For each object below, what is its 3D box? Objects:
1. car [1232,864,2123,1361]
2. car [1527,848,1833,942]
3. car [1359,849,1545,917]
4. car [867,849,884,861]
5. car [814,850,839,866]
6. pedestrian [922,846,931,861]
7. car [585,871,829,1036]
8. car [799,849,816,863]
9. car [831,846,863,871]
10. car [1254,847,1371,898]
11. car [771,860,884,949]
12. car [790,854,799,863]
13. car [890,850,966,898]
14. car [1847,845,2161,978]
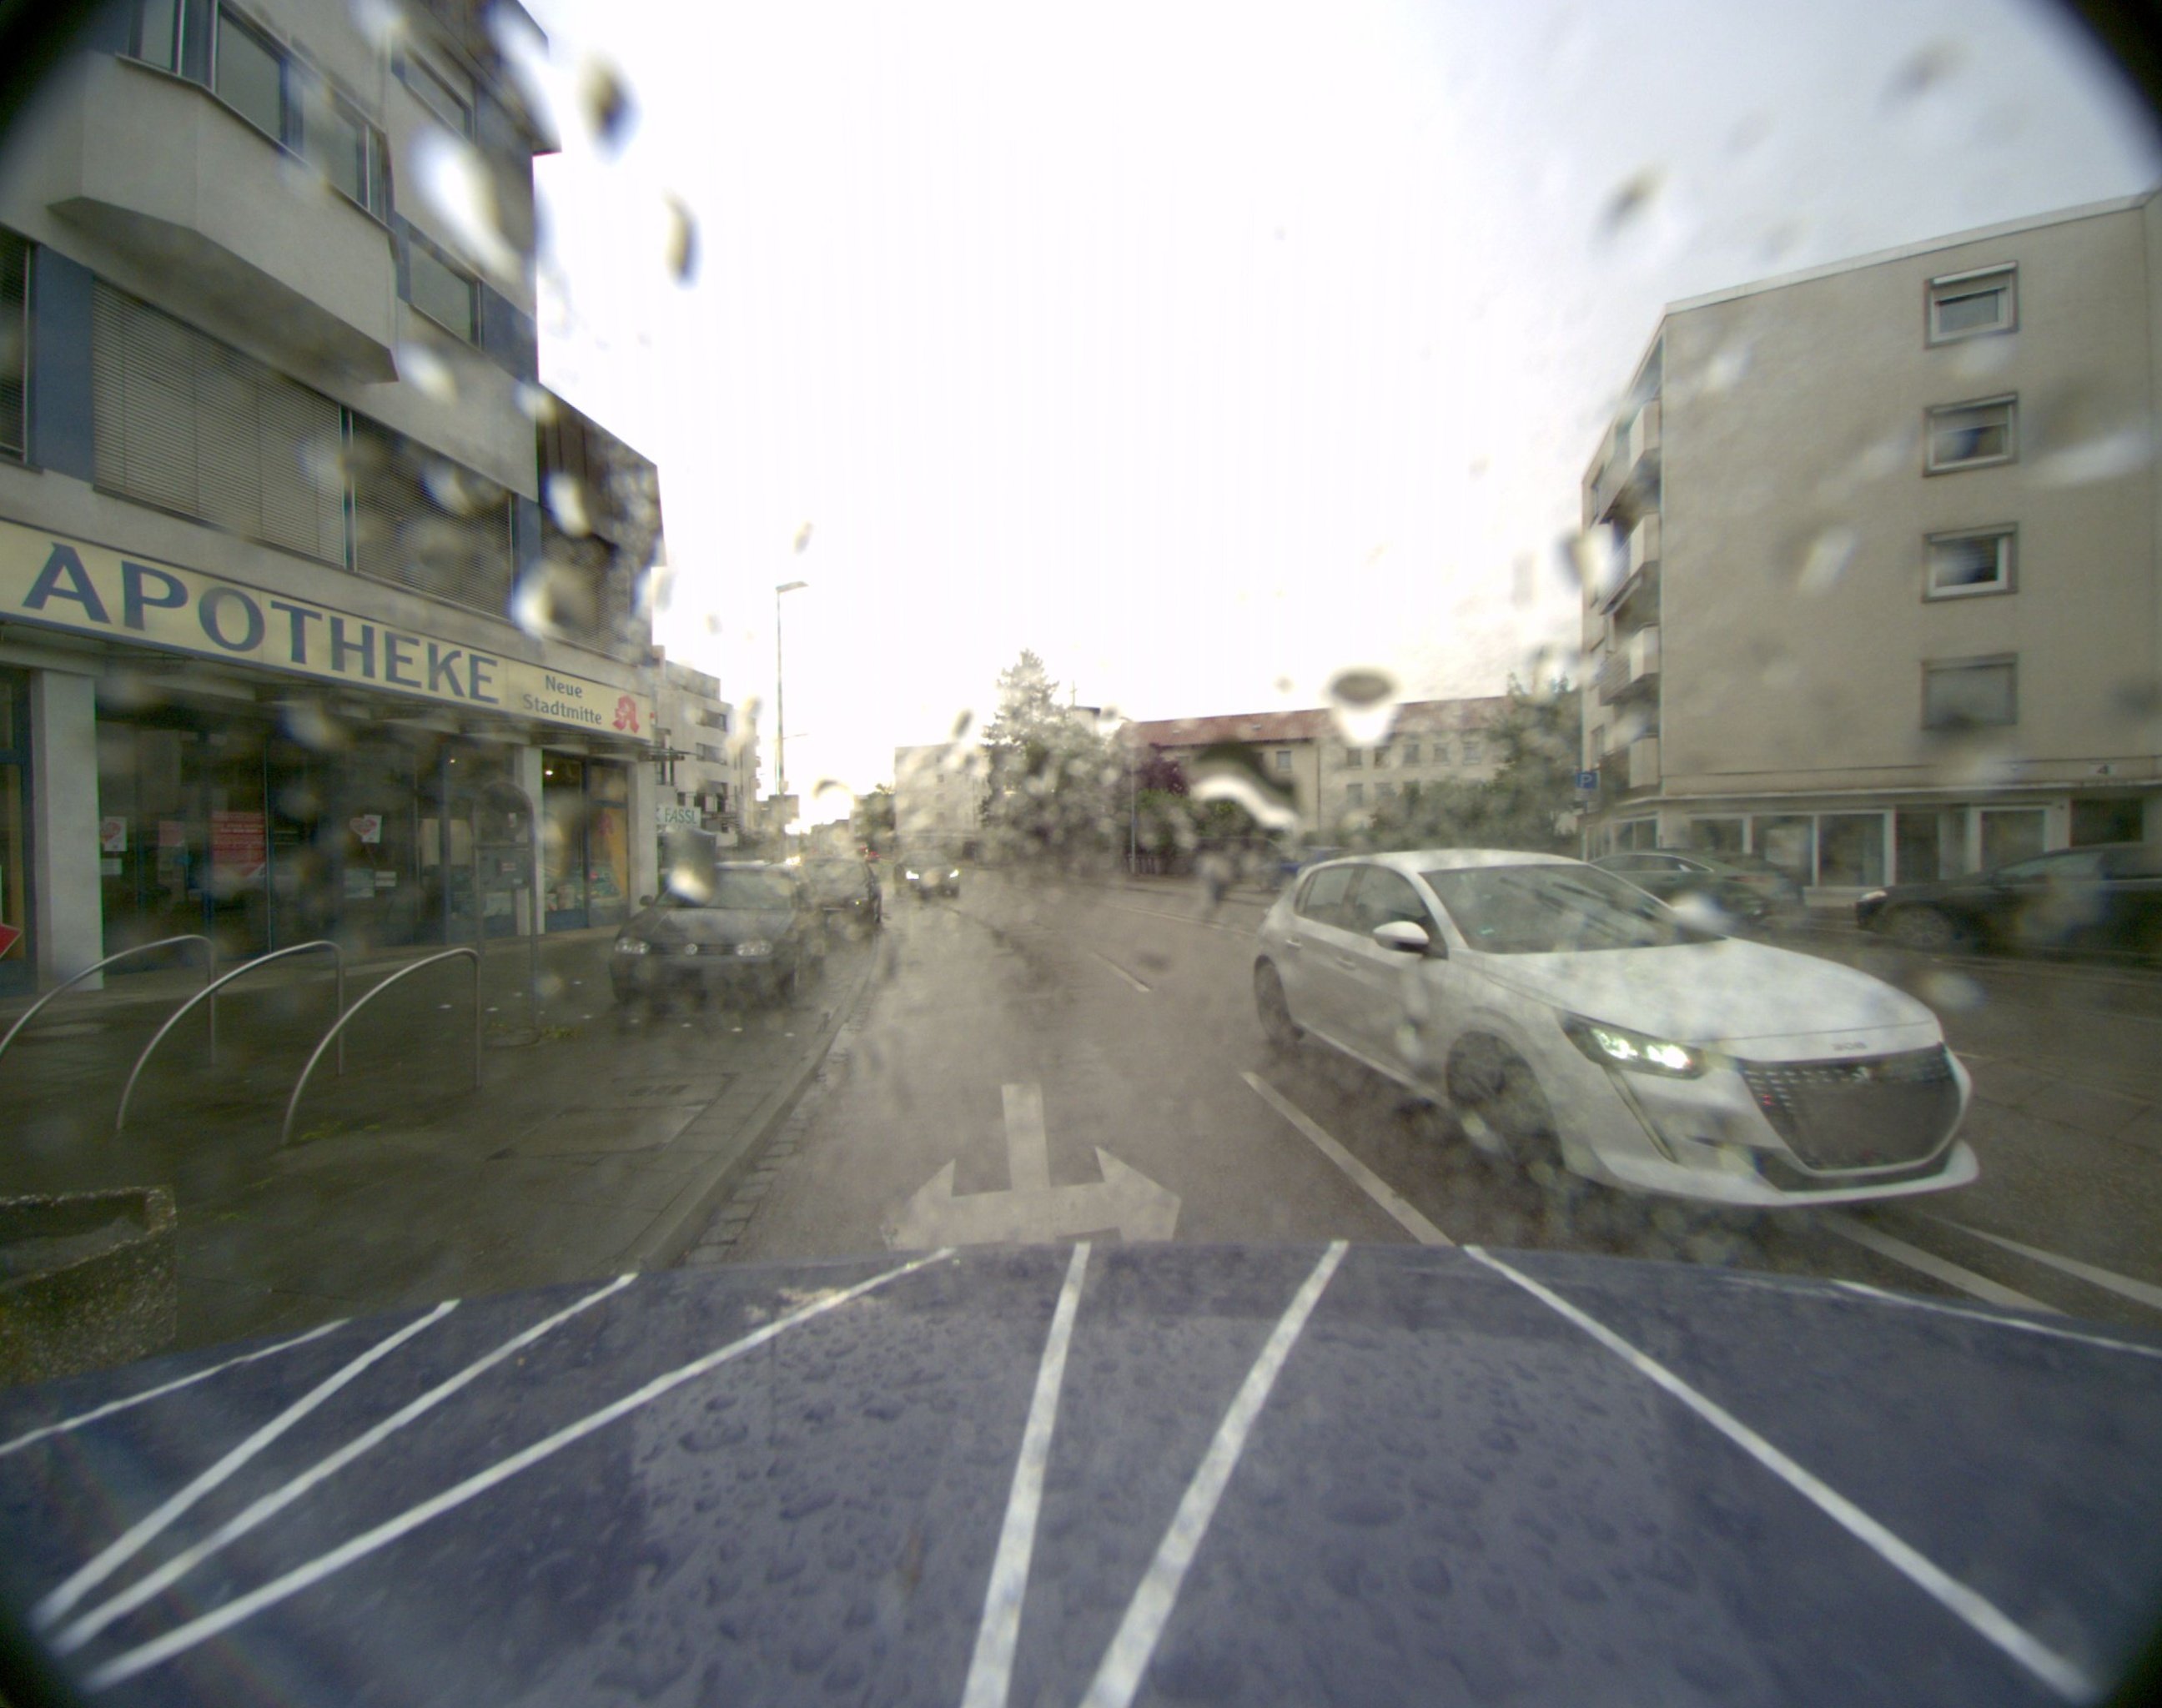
[{"bbox_3d":[2.428,0.832,4.410,1.744,1.401,3.892,-3,1,-9],"label":"car"},{"bbox_3d":[11.147,0.647,14.562,1.839,1.426,4.266,-2,2,-21],"label":"car"},{"bbox_3d":[9.313,0.630,19.515,1.639,1.491,4.338,-1,1,-21],"label":"car"},{"bbox_3d":[-28.041,0.117,103.665,1.874,1.428,3.733,-1,1,-20],"label":"car"},{"bbox_3d":[-23.926,0.323,71.414,1.804,1.361,3.964,-1,2,-24],"label":"car"},{"bbox_3d":[-18.537,-0.063,91.145,0.857,1.726,0.834,-1,2,-29],"label":"pedestrian"},{"bbox_3d":[-4.003,0.947,8.779,1.656,1.364,3.727,1,0,-12],"label":"car"},{"bbox_3d":[-35.345,0.244,98.164,2.002,1.606,3.993,-3,1,-20],"label":"car"},{"bbox_3d":[-15.334,0.281,49.743,1.736,1.519,4.056,-1,0,-21],"label":"car"},{"bbox_3d":[7.436,0.536,24.777,1.636,1.497,3.873,-1,1,-20],"label":"car"},{"bbox_3d":[-4.799,0.857,14.850,1.660,1.416,3.995,-1,1,-12],"label":"car"},{"bbox_3d":[-57.703,0.851,152.951,1.747,1.630,3.992,-1,1,-21],"label":"car"},{"bbox_3d":[-5.344,0.619,26.118,1.737,1.436,4.038,-2,2,-23],"label":"car"},{"bbox_3d":[12.903,0.642,9.587,1.839,1.451,4.180,-2,2,-21],"label":"car"}]
